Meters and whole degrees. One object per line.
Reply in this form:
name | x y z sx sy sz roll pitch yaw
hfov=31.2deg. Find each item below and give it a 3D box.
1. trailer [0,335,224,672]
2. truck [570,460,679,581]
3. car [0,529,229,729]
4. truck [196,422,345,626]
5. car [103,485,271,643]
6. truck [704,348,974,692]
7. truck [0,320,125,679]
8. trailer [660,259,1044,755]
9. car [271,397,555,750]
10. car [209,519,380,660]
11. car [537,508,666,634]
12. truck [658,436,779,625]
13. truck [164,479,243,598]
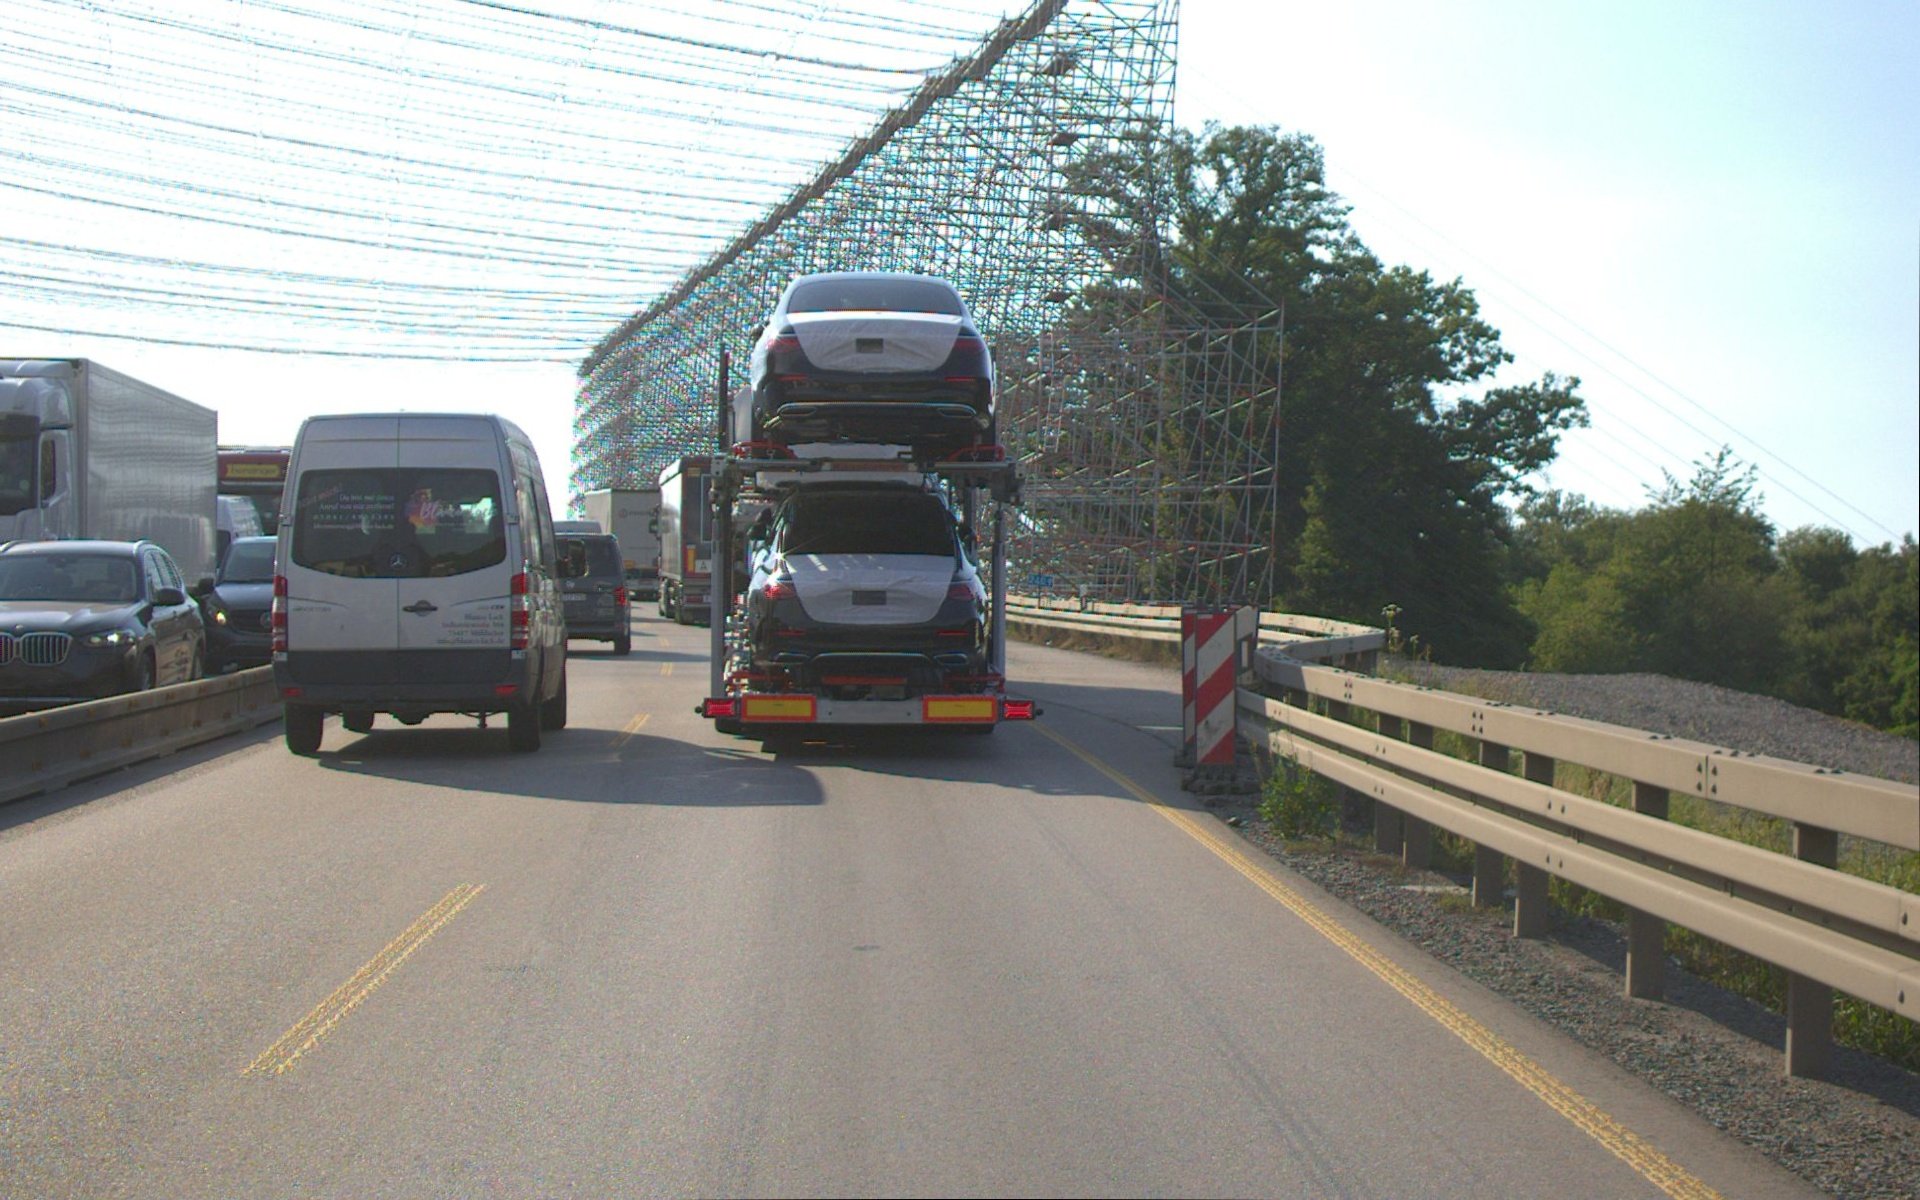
trailer | -12.887 -1.271 49.827 2.720 4.203 13.751 0 0 -5
truck | -12.737 -2.989 130.026 3.686 4.206 13.671 -2 1 -6
car | -7.862 0.197 30.658 1.817 1.573 4.756 -1 2 -2
truck | -15.100 -1.636 75.642 2.744 4.285 5.935 0 0 -7
car | -14.055 -0.712 62.927 2.021 2.681 6.951 1 1 -5
truck | -1.417 -0.891 40.722 2.881 3.690 7.326 0 0 -2
truck | -12.265 -1.207 42.995 2.712 4.203 5.683 0 0 -5
trailer | -1.115 -0.763 33.364 2.868 3.712 14.949 0 0 -2
car | -4.293 -0.204 27.537 1.956 2.612 4.001 0 0 -5
car | -9.090 -0.198 47.324 1.804 1.766 5.454 1 2 -6
car | -6.036 -0.481 57.514 1.993 2.007 4.001 1 0 -8
truck | -6.052 -1.741 86.666 2.732 4.370 11.523 1 1 -4
truck | -27.573 -2.219 125.164 2.661 4.215 6.106 0 1 -13
